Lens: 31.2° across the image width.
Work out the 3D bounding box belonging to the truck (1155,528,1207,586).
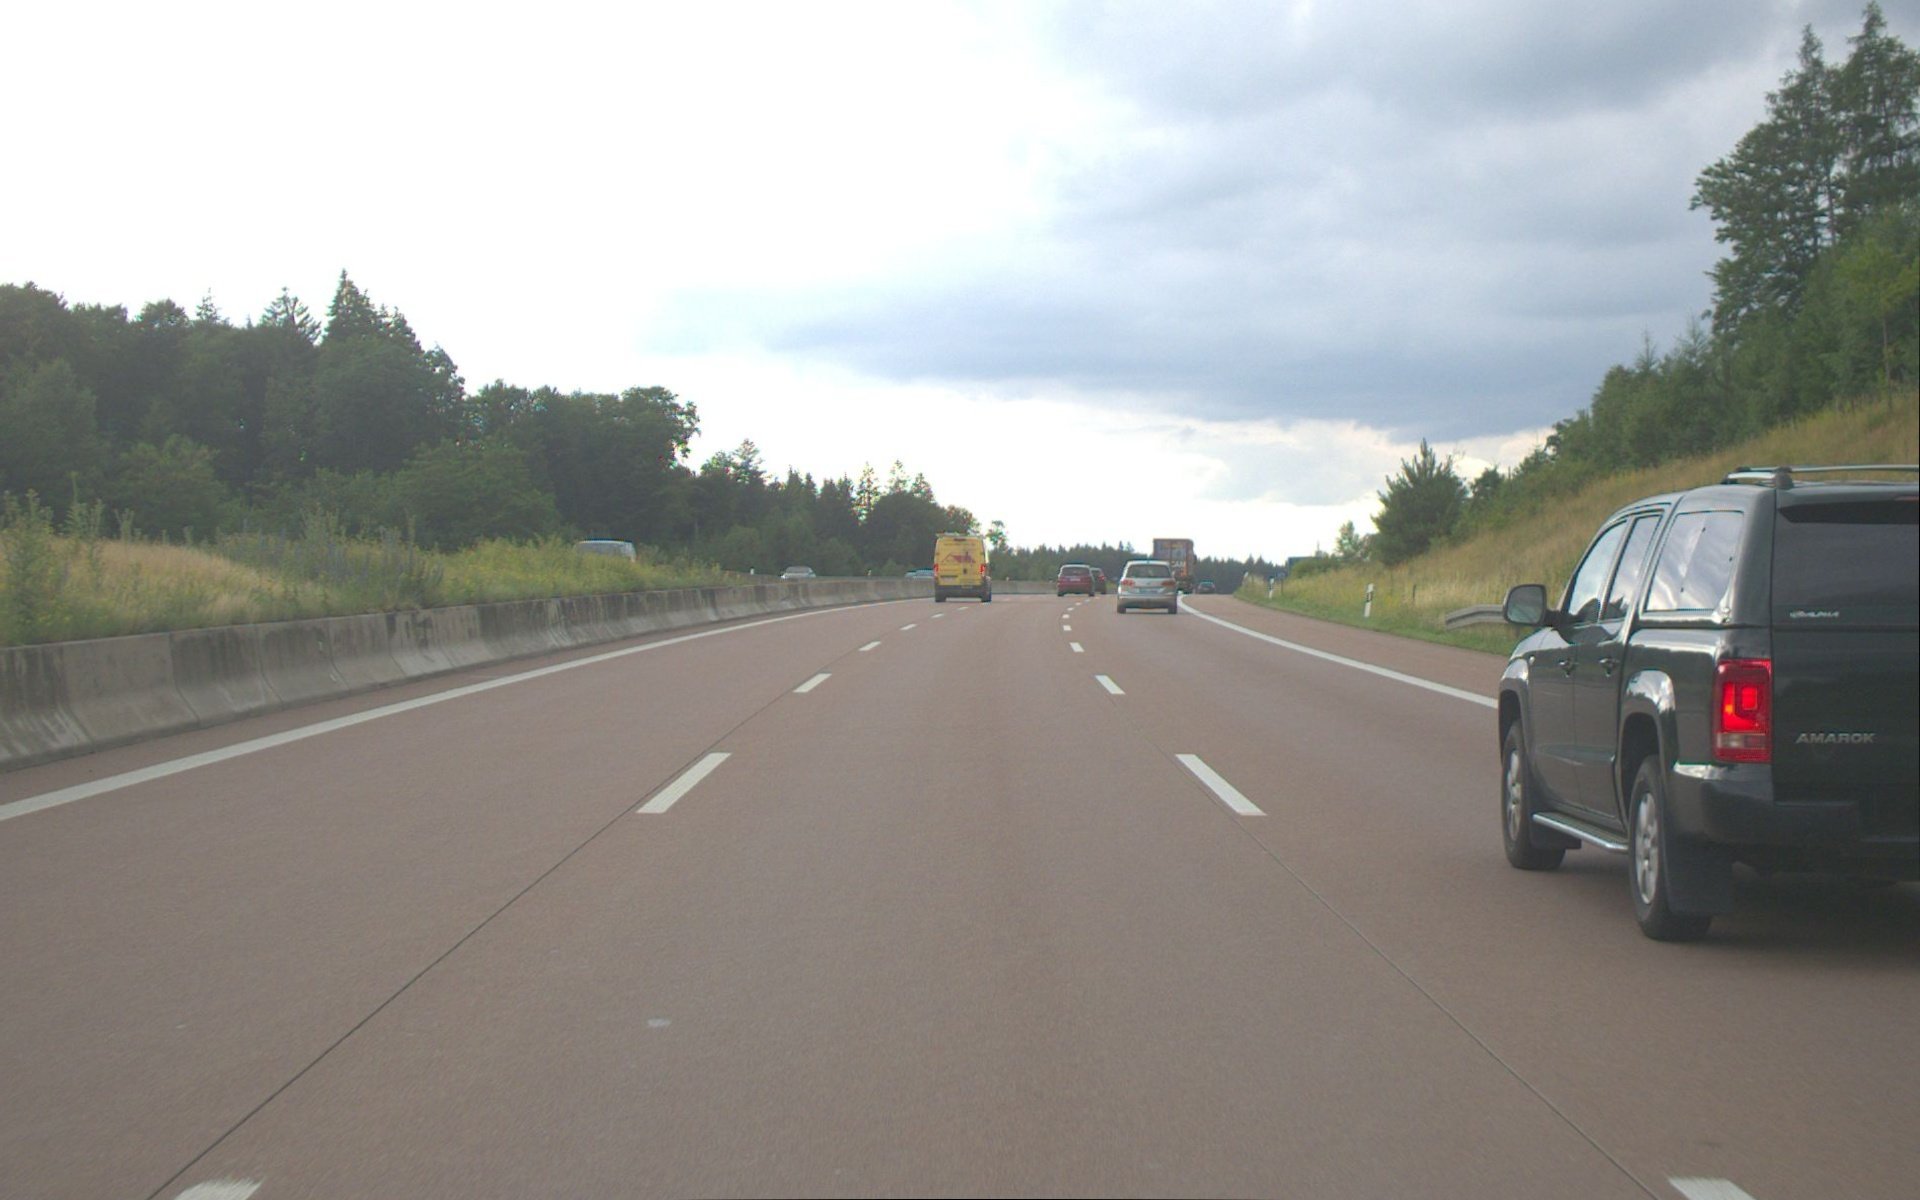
[{"bbox_3d":[16.218,-3.116,253.024,3.681,3.899,12.814,1,0,3],"label":"truck"}]

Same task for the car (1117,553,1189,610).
[{"bbox_3d":[5.785,-0.551,102.676,1.978,1.642,4.618,1,1,5],"label":"car"}]

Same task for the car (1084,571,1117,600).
[{"bbox_3d":[8.593,-0.865,210.212,1.888,1.758,4.997,0,0,4],"label":"car"}]

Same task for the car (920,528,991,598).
[{"bbox_3d":[-0.145,-1.433,135.261,2.459,2.697,5.613,0,0,3],"label":"car"}]

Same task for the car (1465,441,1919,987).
[{"bbox_3d":[3.652,0.383,14.709,2.044,1.890,5.577,0,0,-1],"label":"car"}]

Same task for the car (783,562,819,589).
[{"bbox_3d":[-9.637,-1.476,208.627,1.732,1.520,4.411,1,0,3],"label":"car"}]

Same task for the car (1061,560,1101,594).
[{"bbox_3d":[6.295,-1.189,178.190,1.888,1.758,4.781,0,0,4],"label":"car"}]
